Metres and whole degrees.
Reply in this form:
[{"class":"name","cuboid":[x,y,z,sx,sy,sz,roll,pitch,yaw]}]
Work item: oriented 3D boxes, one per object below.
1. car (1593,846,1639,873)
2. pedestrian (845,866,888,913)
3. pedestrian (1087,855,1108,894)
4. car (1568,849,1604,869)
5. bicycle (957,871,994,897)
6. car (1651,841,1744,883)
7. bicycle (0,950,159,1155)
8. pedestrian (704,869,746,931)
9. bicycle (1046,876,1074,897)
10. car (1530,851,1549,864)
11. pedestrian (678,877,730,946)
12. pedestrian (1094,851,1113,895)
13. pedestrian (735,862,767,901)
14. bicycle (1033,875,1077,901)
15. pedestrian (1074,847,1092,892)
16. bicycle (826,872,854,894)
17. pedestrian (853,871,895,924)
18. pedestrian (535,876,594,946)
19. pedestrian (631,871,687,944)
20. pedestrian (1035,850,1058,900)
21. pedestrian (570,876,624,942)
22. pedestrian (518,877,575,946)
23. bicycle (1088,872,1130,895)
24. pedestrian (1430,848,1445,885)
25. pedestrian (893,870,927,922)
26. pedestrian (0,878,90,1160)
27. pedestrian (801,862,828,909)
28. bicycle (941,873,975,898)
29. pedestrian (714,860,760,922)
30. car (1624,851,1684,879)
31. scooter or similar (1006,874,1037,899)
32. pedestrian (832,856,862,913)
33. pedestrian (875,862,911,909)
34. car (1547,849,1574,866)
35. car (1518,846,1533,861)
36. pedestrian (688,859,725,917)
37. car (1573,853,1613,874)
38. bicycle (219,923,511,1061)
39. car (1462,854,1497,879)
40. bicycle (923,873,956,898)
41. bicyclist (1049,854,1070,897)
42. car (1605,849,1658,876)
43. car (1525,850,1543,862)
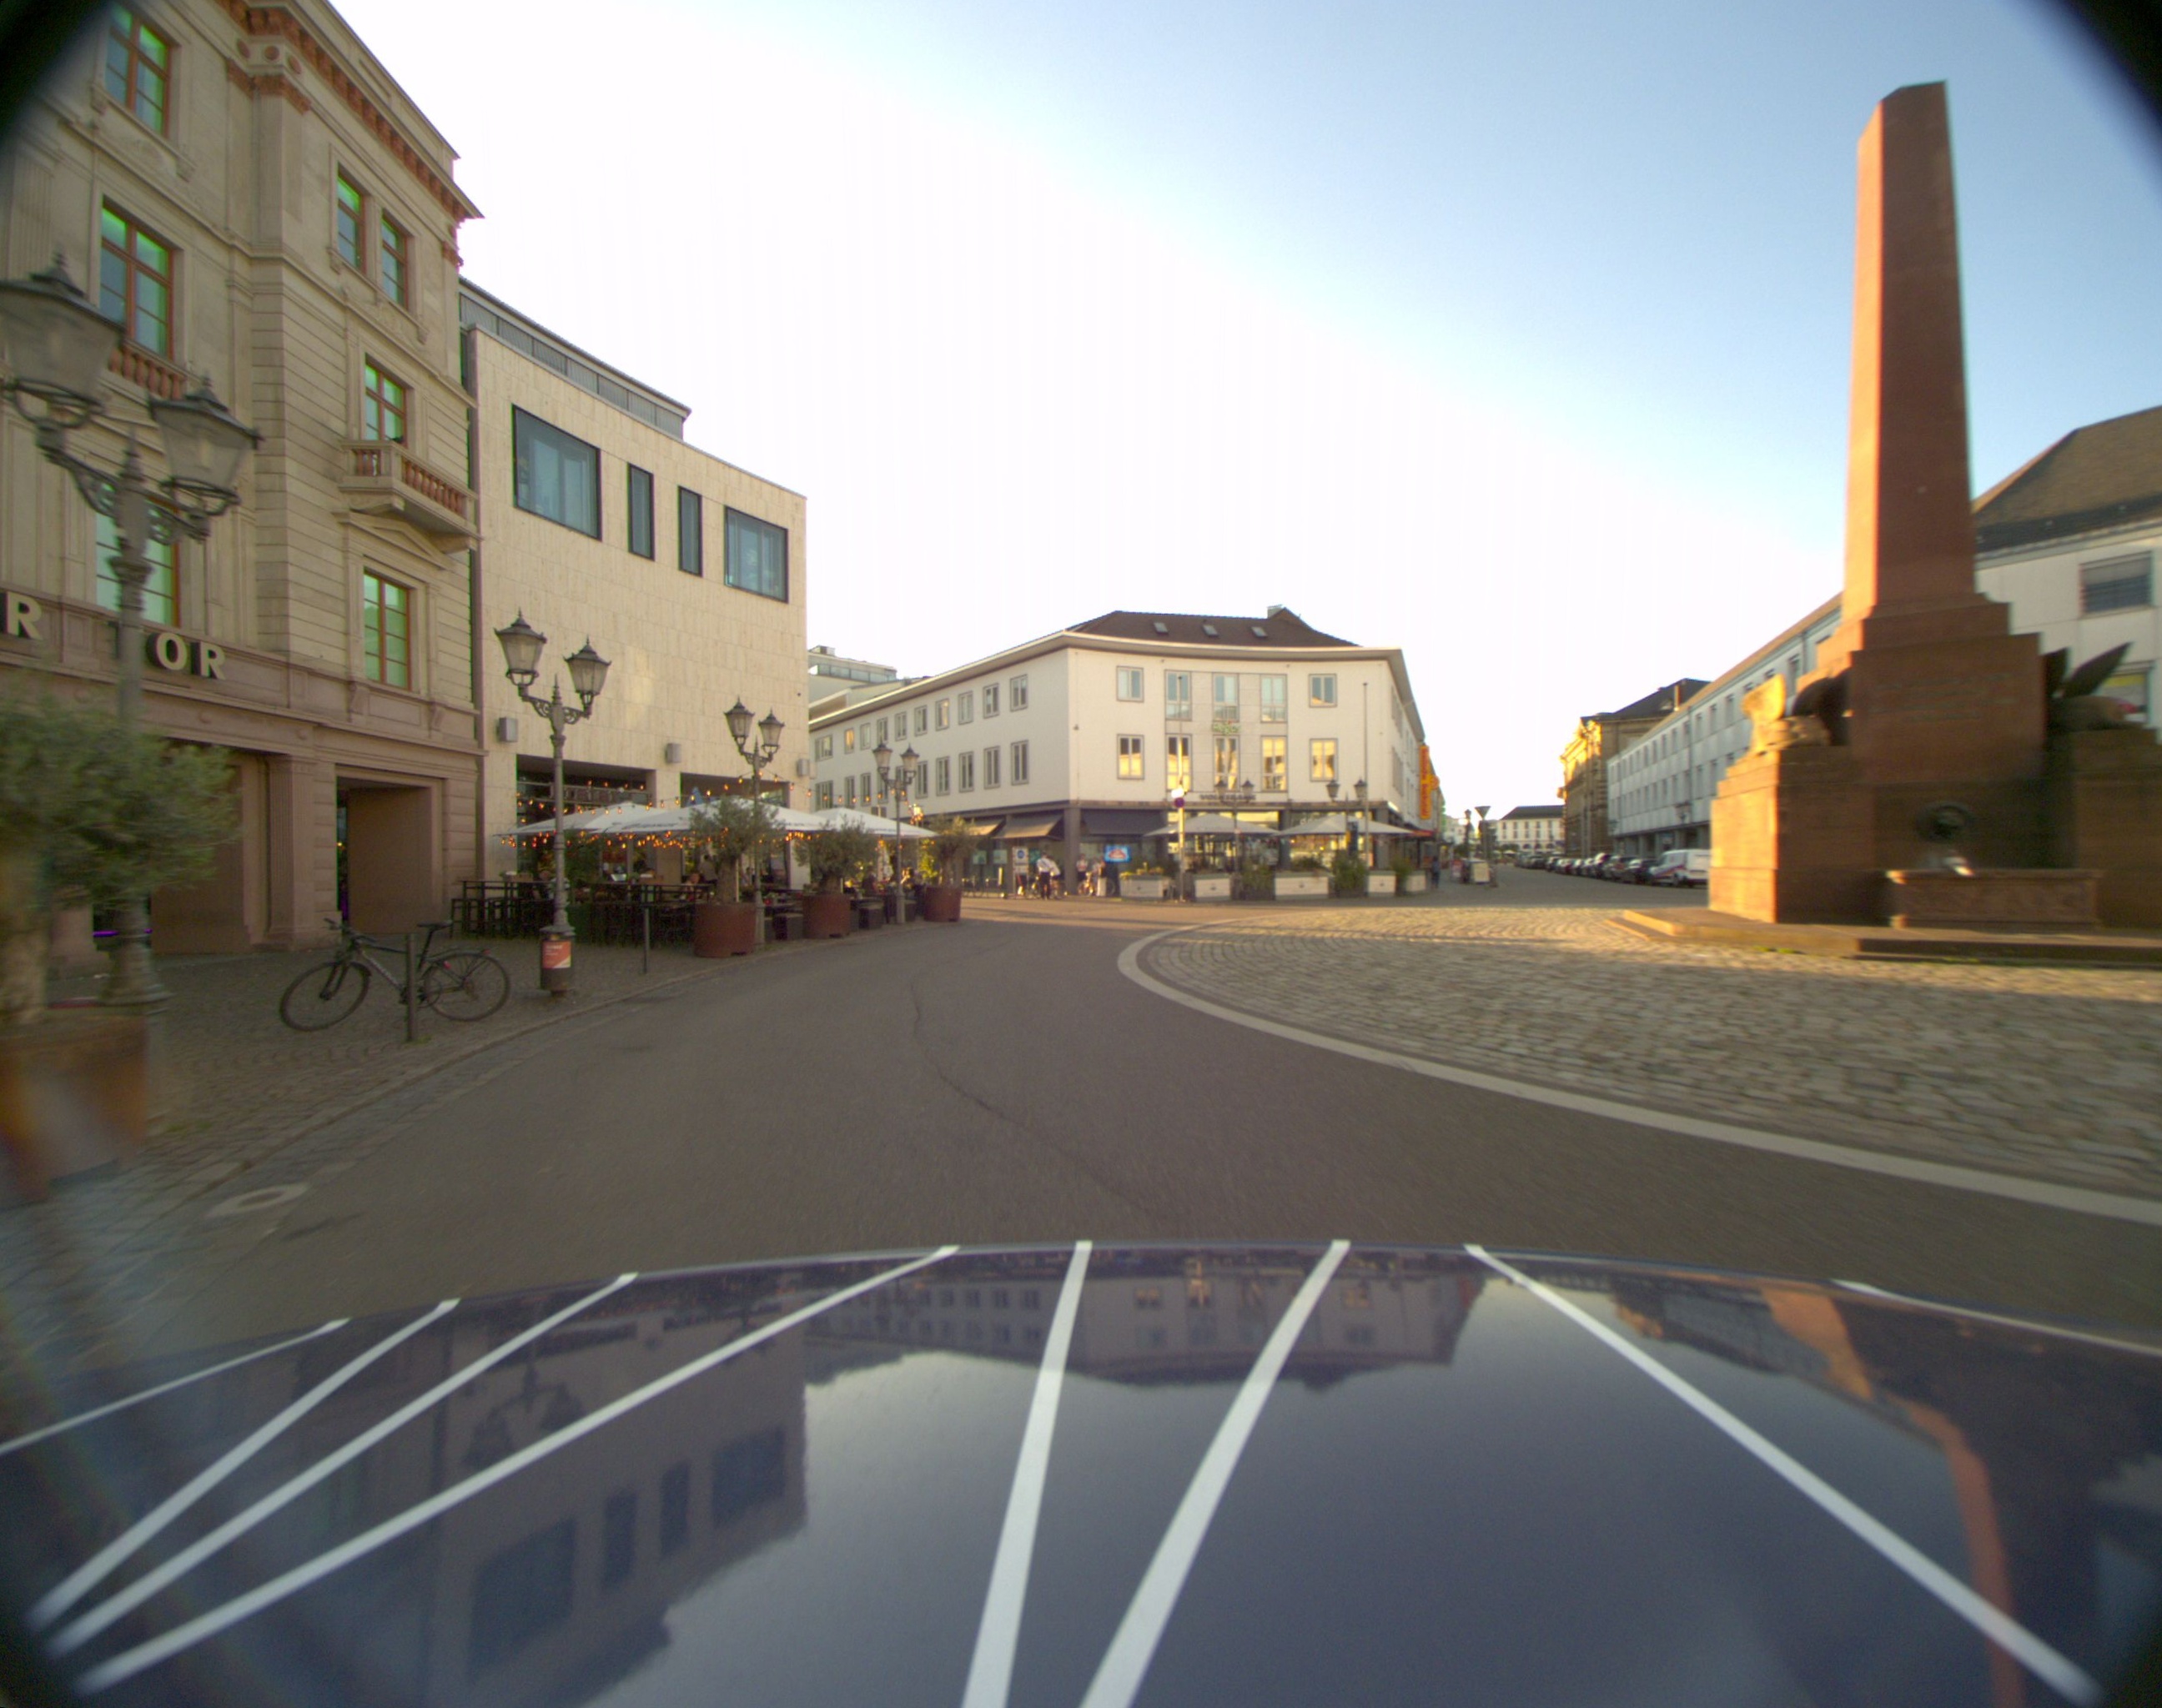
[{"class":"car","cuboid":[35.442,0.364,50.451,1.778,1.718,4.336,-1,0,25]},{"class":"pedestrian","cuboid":[-6.873,1.119,24.375,0.969,1.439,0.947,-1,0,42]},{"class":"pedestrian","cuboid":[0.706,0.871,32.696,0.618,1.666,0.735,-1,0,28]},{"class":"car","cuboid":[40.113,0.383,60.428,1.778,1.483,4.336,-1,0,25]},{"class":"bicycle","cuboid":[-4.747,1.330,34.176,1.959,1.135,0.523,-1,0,45]},{"class":"car","cuboid":[28.743,0.372,35.601,2.017,1.815,4.467,-1,0,20]},{"class":"bicycle","cuboid":[-6.924,1.196,4.396,1.910,1.121,0.606,2,-2,-39]},{"class":"pedestrian","cuboid":[-10.706,1.364,22.859,0.727,1.792,0.852,-1,0,33]},{"class":"bicycle","cuboid":[-0.859,1.333,31.438,0.481,0.843,1.486,-1,0,29]},{"class":"car","cuboid":[59.916,0.467,99.341,1.778,1.657,4.336,-1,0,27]},{"class":"pedestrian","cuboid":[-8.232,1.227,16.586,0.867,1.439,0.721,-1,0,-40]},{"class":"pedestrian","cuboid":[0.929,0.768,31.444,0.508,1.807,0.720,-1,0,28]},{"class":"pedestrian","cuboid":[-11.591,0.944,26.667,0.708,1.341,0.785,-1,0,41]},{"class":"bicycle","cuboid":[-1.016,1.333,29.998,1.679,0.928,0.473,-1,0,-26]},{"class":"pedestrian","cuboid":[0.085,0.670,33.194,0.579,1.912,0.544,-1,0,28]},{"class":"bicycle","cuboid":[-14.387,1.716,45.347,0.800,1.210,2.227,-1,0,-40]},{"class":"pedestrian","cuboid":[-5.764,1.197,21.169,0.867,1.439,0.721,-1,0,-40]},{"class":"pedestrian","cuboid":[-11.021,1.189,16.207,0.773,1.439,0.854,-1,0,41]},{"class":"pedestrian","cuboid":[-8.734,1.086,15.729,0.867,1.439,0.721,-1,0,-40]},{"class":"pedestrian","cuboid":[-1.365,0.825,29.899,0.629,1.917,0.643,-1,0,-40]},{"class":"pedestrian","cuboid":[-11.136,1.244,17.486,0.773,1.439,0.854,-1,0,42]},{"class":"pedestrian","cuboid":[-11.740,1.240,16.698,0.773,1.439,0.854,-1,0,42]},{"class":"bicycle","cuboid":[1.173,1.220,31.603,1.679,0.928,0.473,-1,0,-26]},{"class":"pedestrian","cuboid":[16.725,0.591,35.650,0.602,1.690,0.715,-1,0,21]},{"class":"pedestrian","cuboid":[-4.926,1.189,21.846,0.695,1.439,0.721,-1,0,-39]},{"class":"pedestrian","cuboid":[-6.460,0.942,4.437,0.747,1.579,0.716,-1,0,44]},{"class":"pedestrian","cuboid":[-9.985,1.178,28.482,0.718,1.737,0.708,-1,0,-45]},{"class":"bicycle","cuboid":[-5.811,1.477,35.766,1.959,1.135,0.523,-1,0,45]},{"class":"pedestrian","cuboid":[-10.177,1.077,22.505,0.726,1.792,0.984,-1,0,34]},{"class":"car","cuboid":[30.669,0.582,40.767,1.778,1.416,3.968,-1,0,25]},{"class":"scooter or similar","cuboid":[-2.486,1.340,31.746,1.206,1.005,0.486,-1,0,-33]},{"class":"pedestrian","cuboid":[-7.330,0.946,23.799,0.718,1.737,0.708,-1,0,-33]},{"class":"pedestrian","cuboid":[-7.065,1.171,28.527,0.932,1.730,0.922,-1,0,16]},{"class":"car","cuboid":[48.752,0.357,77.318,1.778,1.657,4.336,-1,0,25]},{"class":"car","cuboid":[71.077,-0.082,121.636,1.778,2.213,4.336,-1,0,27]},{"class":"pedestrian","cuboid":[-11.403,1.027,23.119,0.708,1.737,0.718,-1,0,33]},{"class":"car","cuboid":[37.682,0.705,55.987,1.778,1.483,4.336,-1,0,25]},{"class":"bicycle","cuboid":[-6.700,1.252,7.257,1.909,1.121,0.606,1,-1,-28]},{"class":"car","cuboid":[24.404,0.737,46.587,1.778,1.416,3.968,-1,0,26]},{"class":"bicycle","cuboid":[-6.923,1.524,37.114,1.959,1.135,0.523,-1,0,45]},{"class":"bicyclist","cuboid":[-0.874,0.888,31.428,0.481,1.733,0.837,-1,0,29]},{"class":"car","cuboid":[32.589,0.490,45.085,1.778,1.506,3.968,-1,0,25]},{"class":"car","cuboid":[62.484,0.301,104.895,1.778,1.657,4.336,-1,0,27]}]
